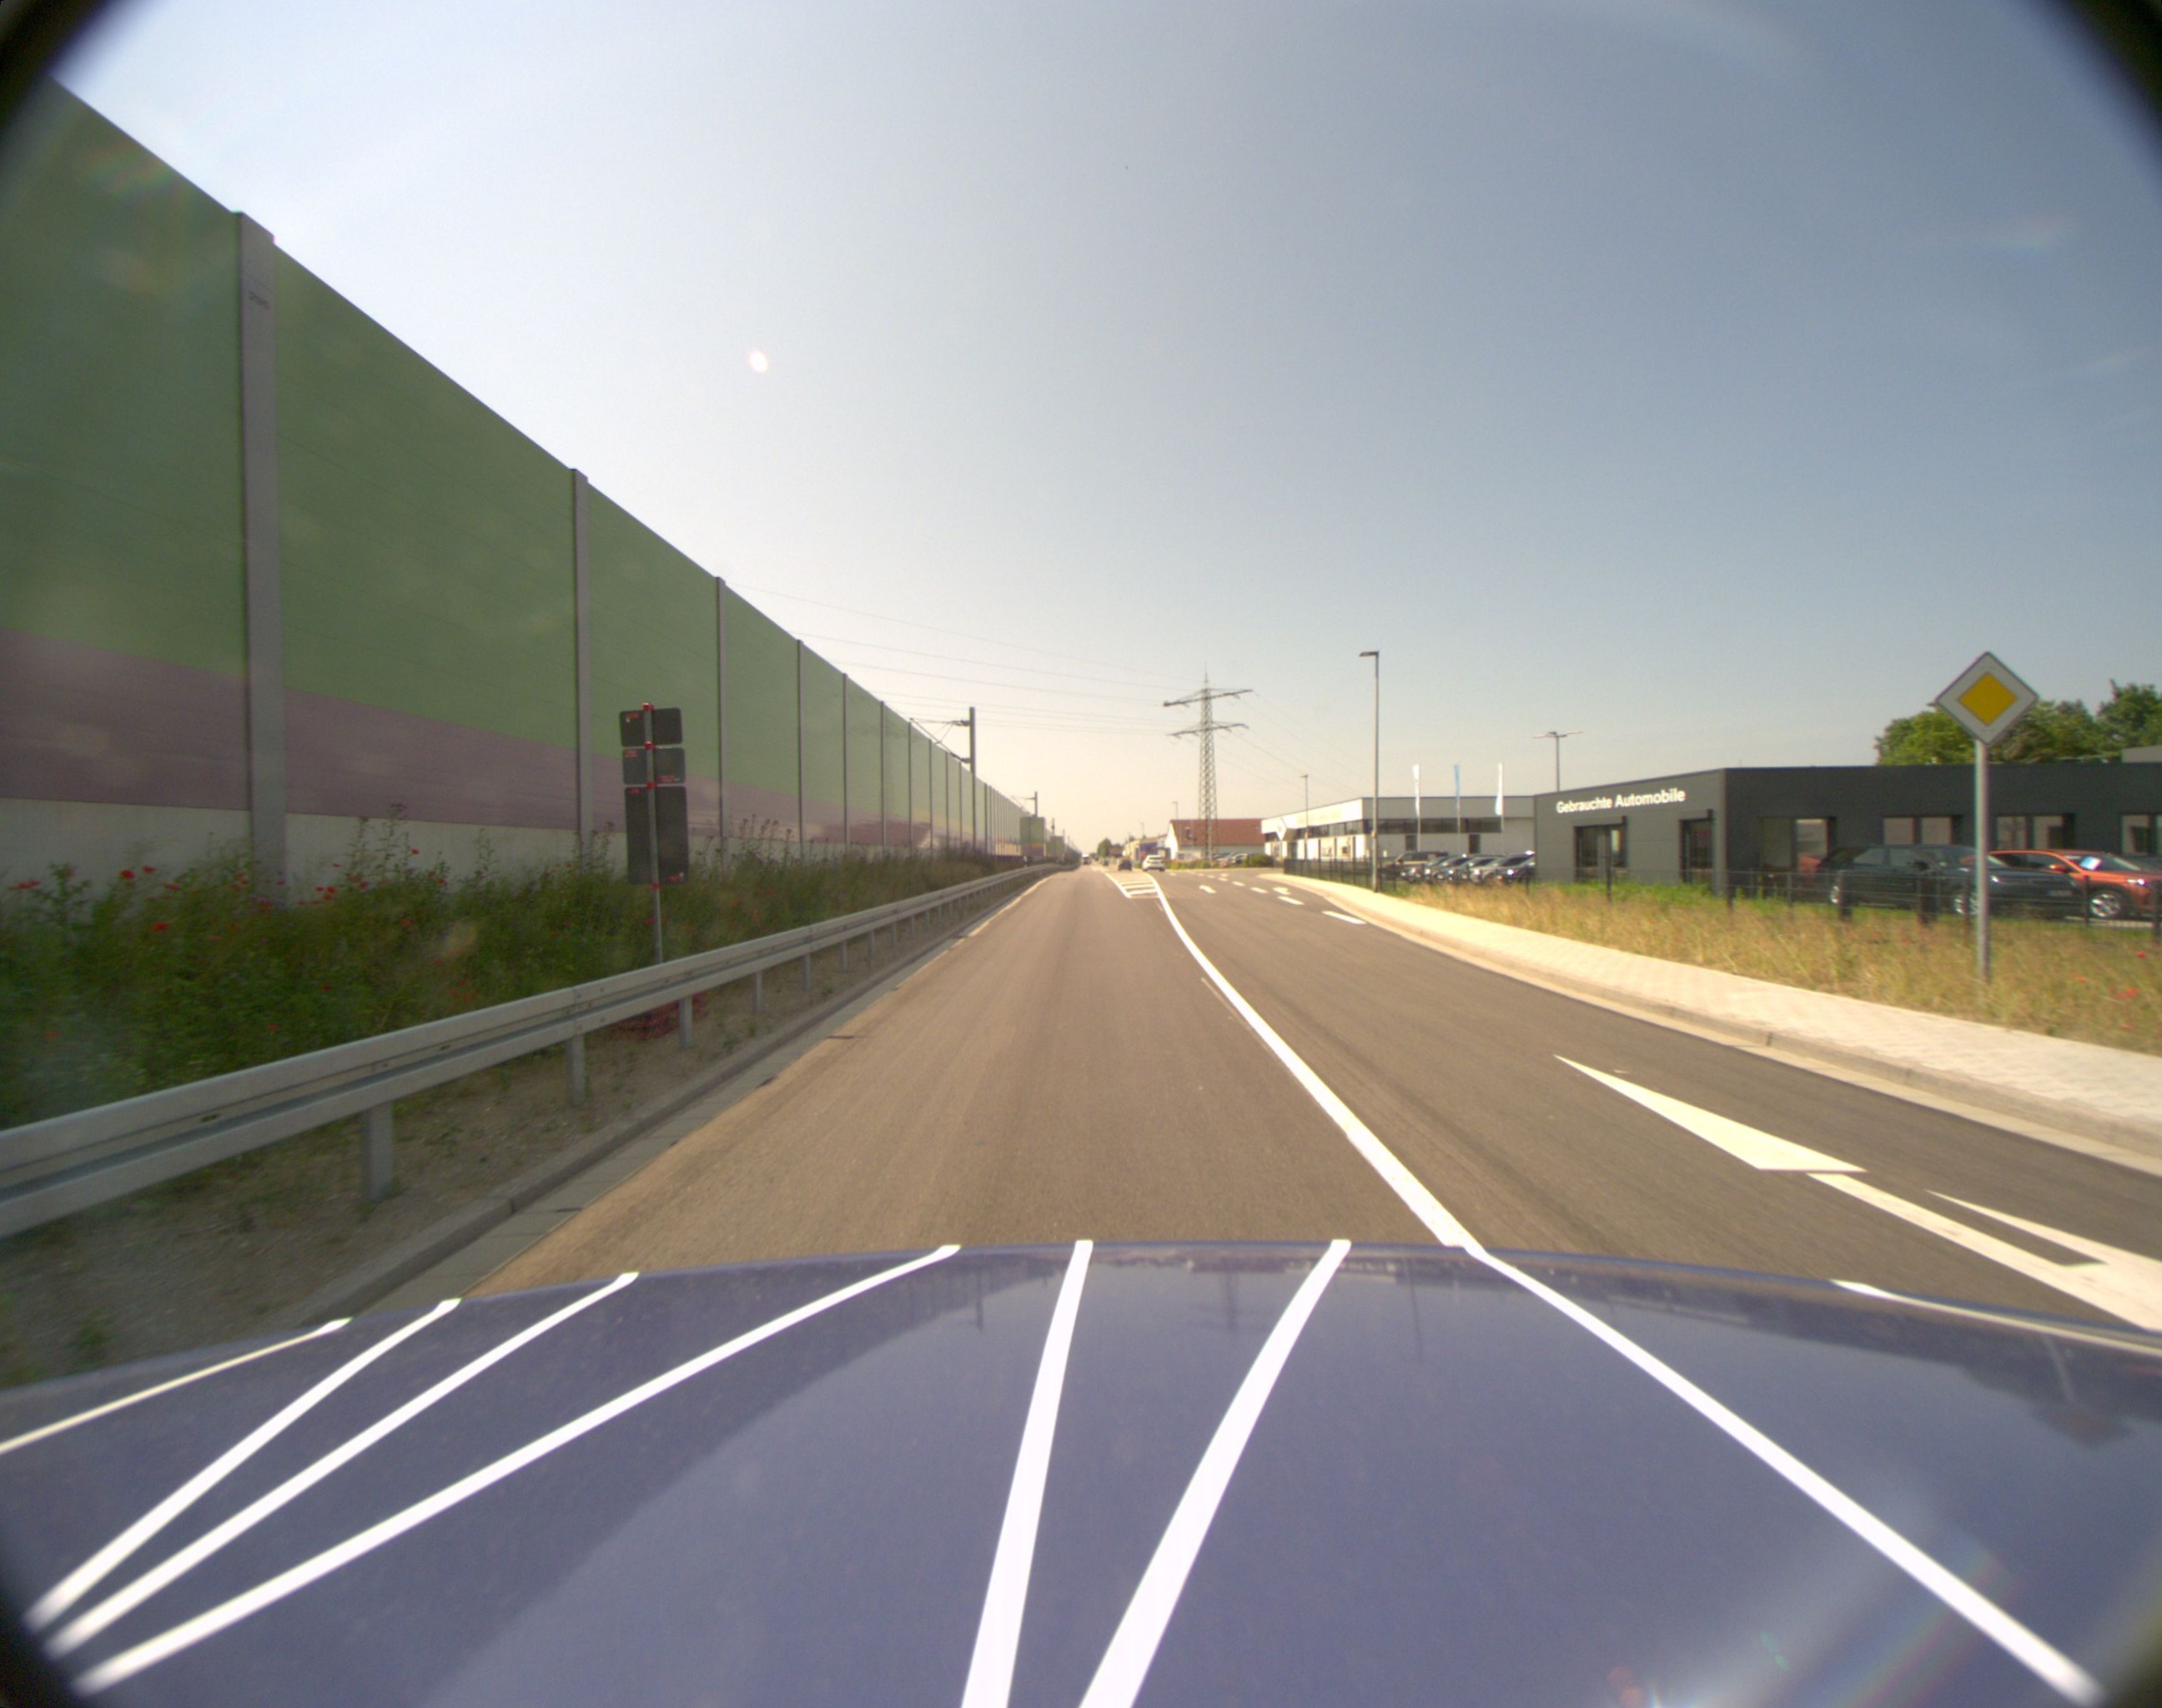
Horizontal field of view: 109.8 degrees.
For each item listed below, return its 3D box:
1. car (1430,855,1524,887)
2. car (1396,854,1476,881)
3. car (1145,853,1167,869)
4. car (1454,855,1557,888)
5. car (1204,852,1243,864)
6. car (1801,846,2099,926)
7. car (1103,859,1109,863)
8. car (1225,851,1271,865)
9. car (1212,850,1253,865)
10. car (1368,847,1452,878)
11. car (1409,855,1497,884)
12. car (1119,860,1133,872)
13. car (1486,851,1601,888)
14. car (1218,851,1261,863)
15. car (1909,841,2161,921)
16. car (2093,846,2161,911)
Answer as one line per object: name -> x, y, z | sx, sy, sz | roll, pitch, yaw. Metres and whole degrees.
car -> 21.055, 0.891, 40.479 | 3.997, 1.622, 1.977 | 0, -1, -1
car -> 21.383, 0.822, 45.871 | 3.997, 1.622, 1.886 | 0, -1, -1
car -> 6.761, 0.582, 68.841 | 1.785, 1.407, 4.050 | 0, 0, 2
car -> 21.036, 0.858, 37.778 | 3.997, 1.622, 1.968 | 0, -1, 1
car -> 16.555, 0.463, 88.193 | 3.999, 1.405, 1.999 | 0, -1, -7
car -> 21.194, 0.666, 18.939 | 1.959, 1.728, 4.750 | 0, 1, -1
car -> 7.682, 2.178, 233.414 | 1.675, 1.414, 4.000 | 1, -1, 0
car -> 17.100, 0.415, 77.781 | 4.235, 1.386, 1.833 | 0, -1, -3
car -> 16.922, 0.417, 84.979 | 4.235, 1.638, 1.833 | 0, -1, -3
car -> 21.416, 0.554, 49.549 | 4.666, 1.854, 2.070 | -1, 2, 38
car -> 21.095, 0.882, 43.195 | 3.997, 1.622, 1.977 | 0, -1, -1
car -> 6.440, 1.703, 108.955 | 1.882, 1.663, 4.291 | 0, -1, 1
car -> 20.971, 0.684, 34.545 | 4.159, 1.622, 1.823 | 0, -1, -1
car -> 17.061, 0.325, 81.818 | 4.235, 1.307, 1.833 | 0, -1, -3
car -> 24.198, 0.553, 18.903 | 1.959, 1.728, 4.750 | 0, 1, -1
car -> 29.618, 0.663, 19.096 | 1.959, 1.728, 4.750 | 0, 1, -1
